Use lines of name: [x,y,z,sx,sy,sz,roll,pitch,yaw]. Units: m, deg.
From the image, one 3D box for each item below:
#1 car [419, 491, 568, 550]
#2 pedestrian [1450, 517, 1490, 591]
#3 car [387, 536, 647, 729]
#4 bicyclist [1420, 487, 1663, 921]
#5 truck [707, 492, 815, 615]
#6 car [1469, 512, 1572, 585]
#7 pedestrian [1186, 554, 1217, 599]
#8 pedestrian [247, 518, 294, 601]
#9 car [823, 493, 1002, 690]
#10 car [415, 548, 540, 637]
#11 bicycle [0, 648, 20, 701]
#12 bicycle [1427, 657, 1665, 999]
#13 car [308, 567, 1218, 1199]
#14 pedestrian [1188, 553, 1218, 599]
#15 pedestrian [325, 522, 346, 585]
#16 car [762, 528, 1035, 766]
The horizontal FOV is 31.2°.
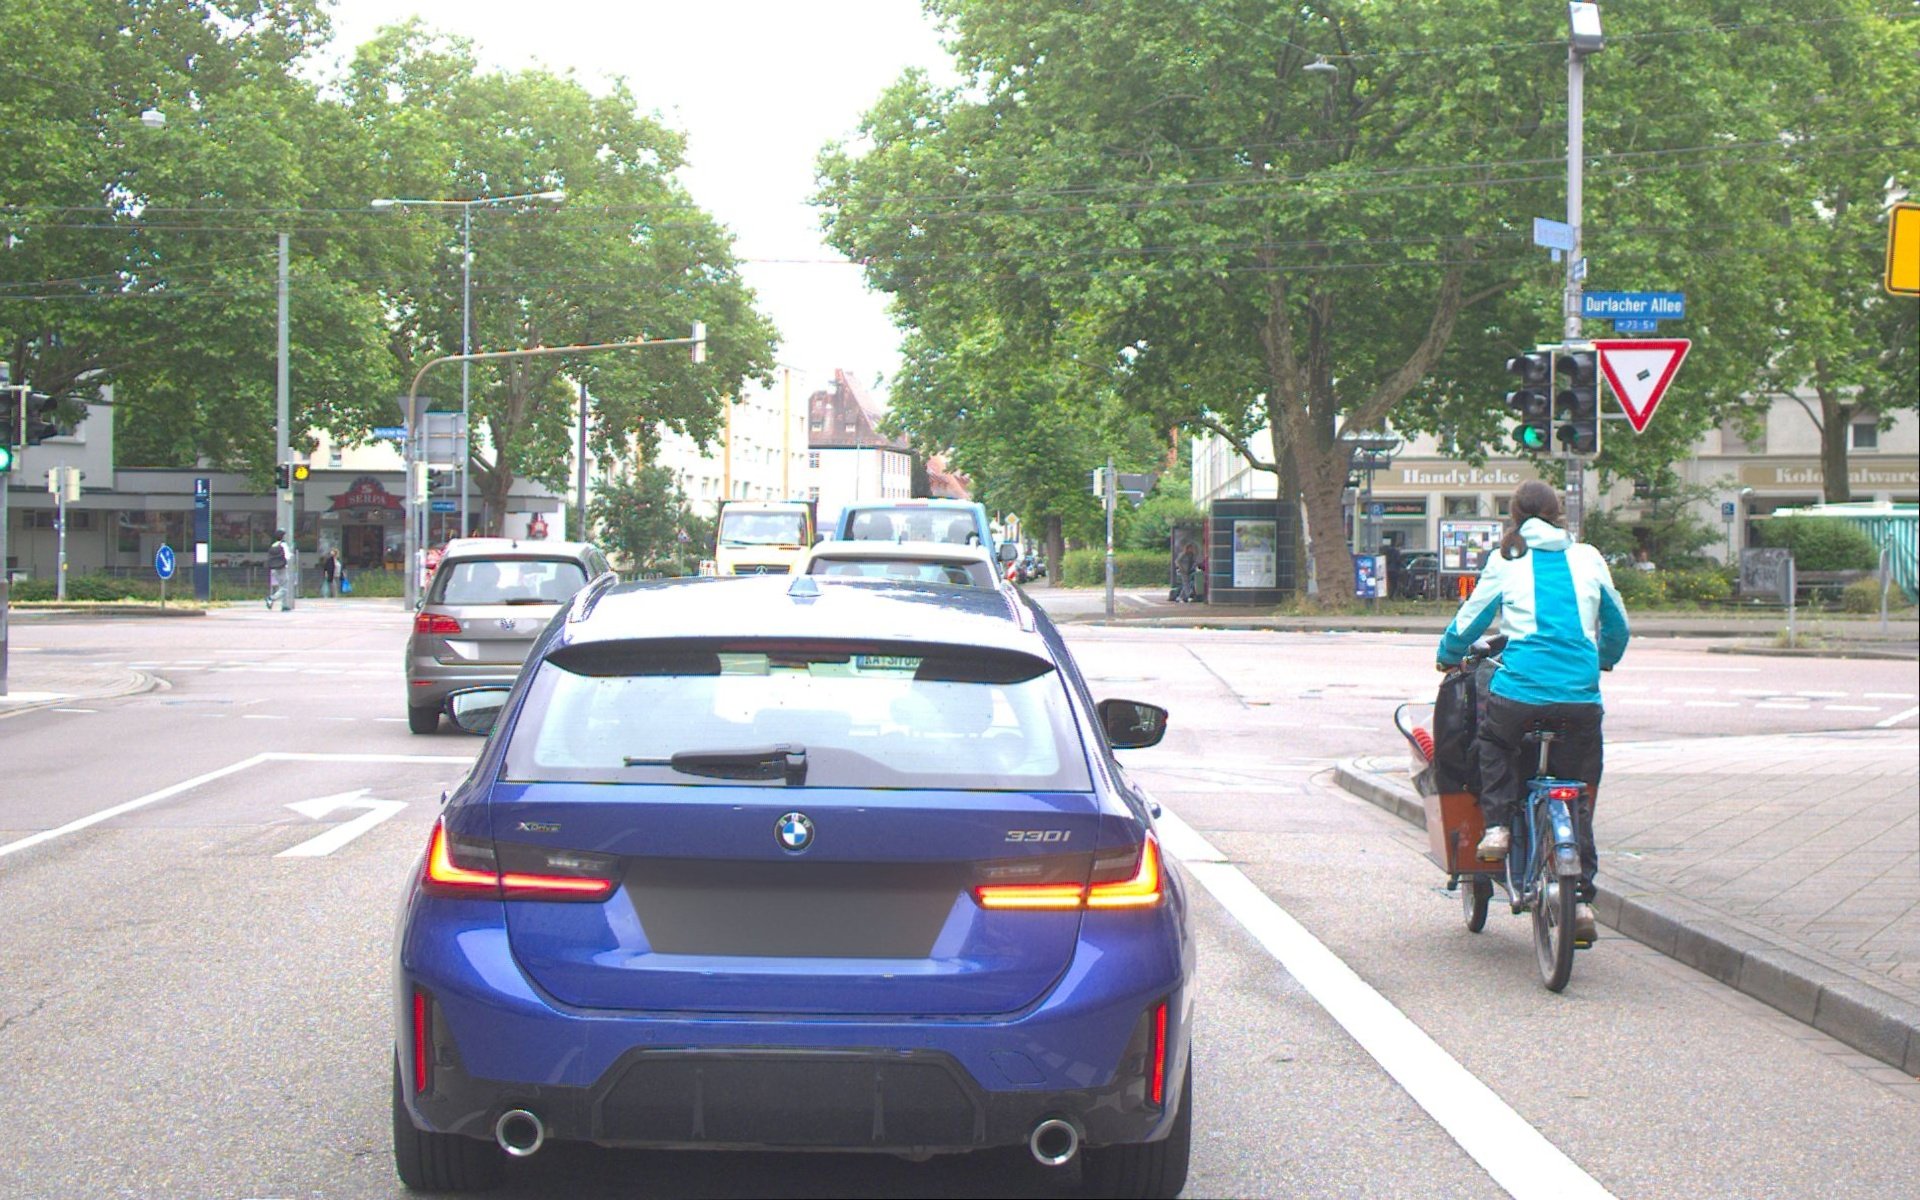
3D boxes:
car: [-14.167,-2.409,104.491,3.987,1.700,2.000,1,0,-34]
pedestrian: [12.103,-1.085,81.570,0.784,1.738,0.925,0,1,-2]
car: [-3.685,0.220,29.167,1.732,1.520,4.000,0,1,-1]
bicyclist: [2.097,0.352,12.504,0.686,1.512,1.058,0,1,-1]
truck: [-3.998,-0.966,69.781,2.074,2.400,5.463,0,1,-2]
car: [17.321,-1.589,106.118,2.177,2.193,3.995,1,1,24]
pedestrian: [7.151,-0.695,101.814,0.853,1.310,0.763,0,1,0]
pedestrian: [-14.768,-0.878,73.679,0.676,1.765,0.724,1,1,41]
car: [-0.502,-0.124,36.878,1.815,1.998,4.000,0,1,-1]
car: [-8.108,-0.154,57.956,1.649,1.442,3.511,0,1,-1]
bicycle: [-9.880,0.621,32.138,1.886,0.443,1.029,6,2,-2]
bicycle: [2.150,0.798,12.826,0.494,1.094,2.139,0,1,-1]
car: [-0.417,0.637,9.026,1.815,1.400,4.320,0,1,-1]
pedestrian: [7.173,-0.716,101.545,0.817,1.367,0.763,0,1,0]
pedestrian: [-17.647,-1.320,97.122,0.571,1.765,0.515,0,1,-13]
car: [-0.430,0.278,24.926,1.815,1.586,4.000,0,1,-1]
